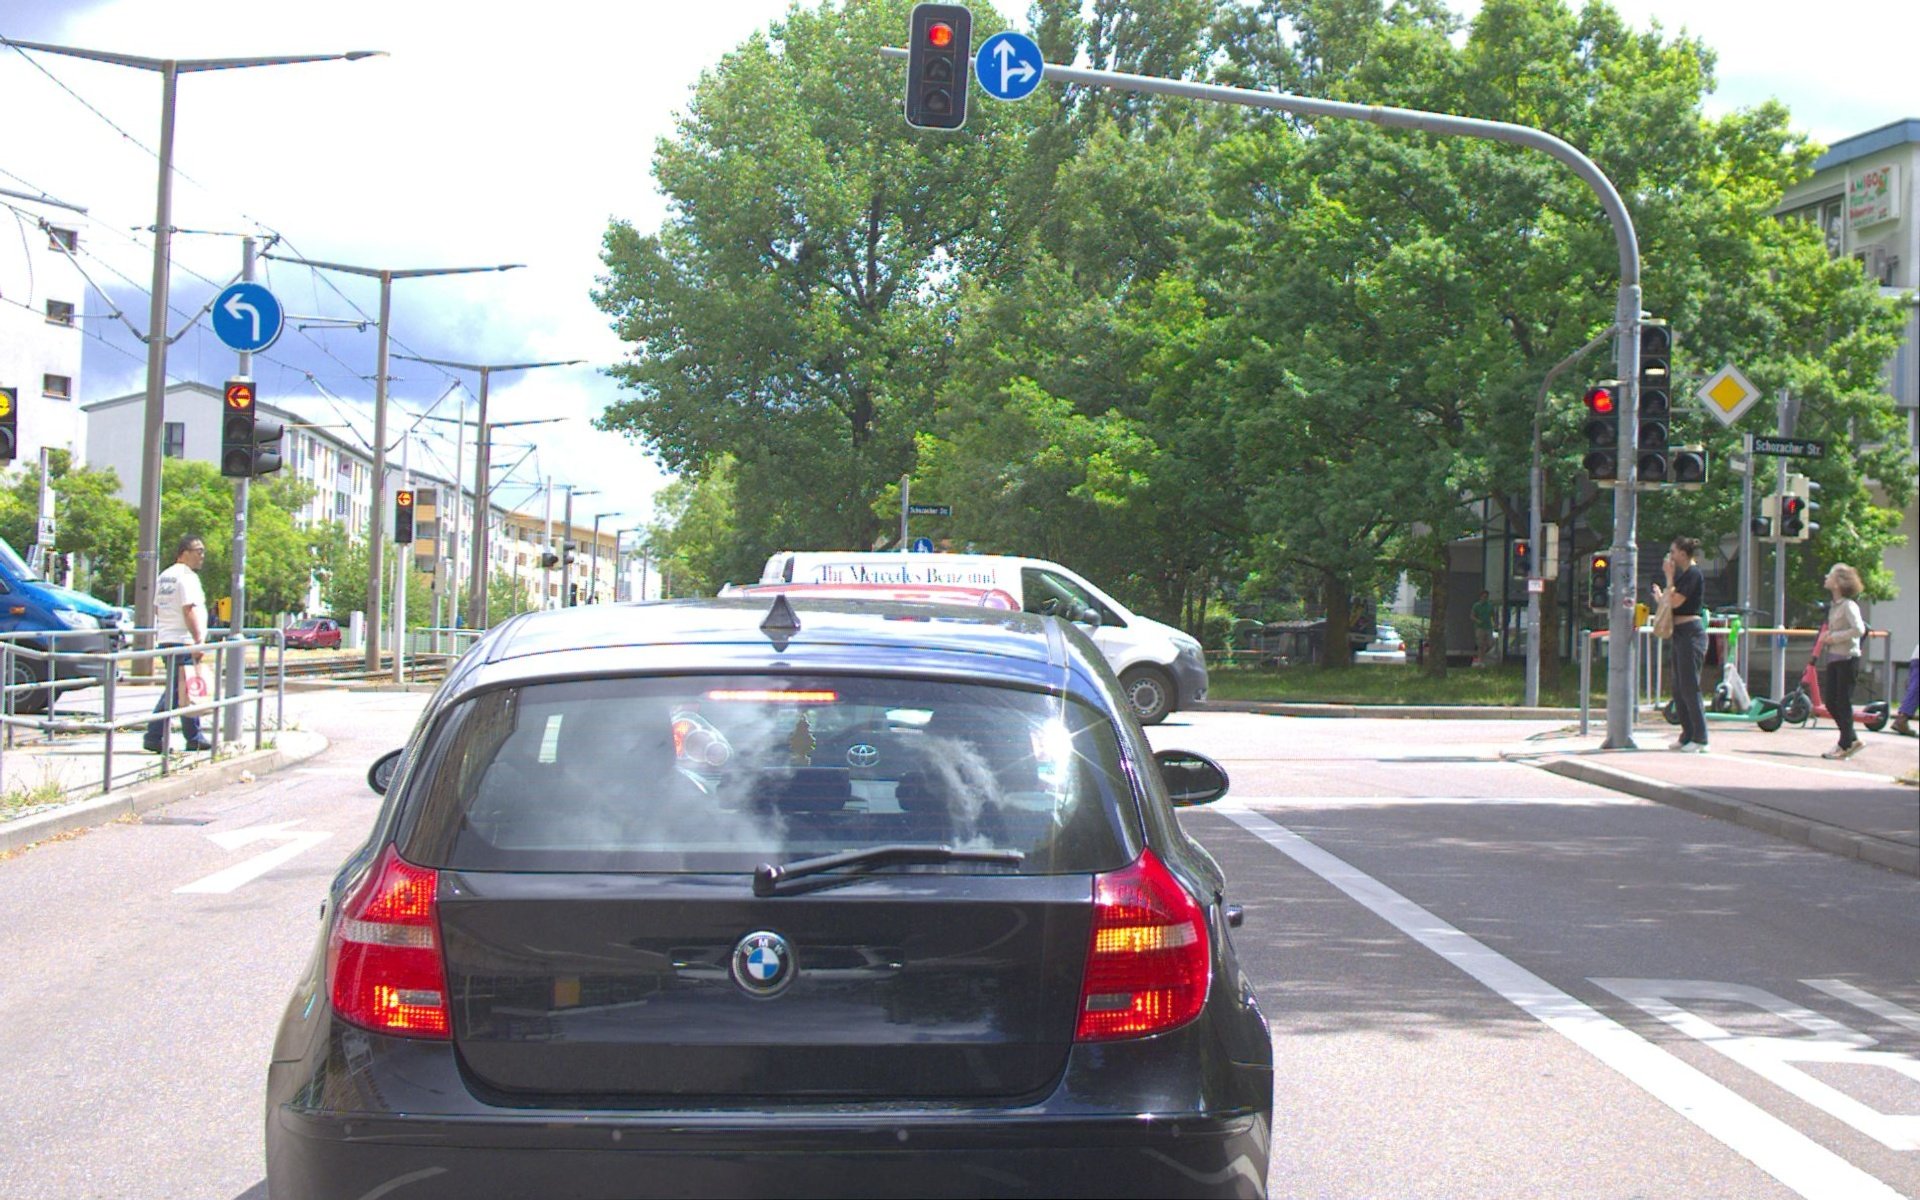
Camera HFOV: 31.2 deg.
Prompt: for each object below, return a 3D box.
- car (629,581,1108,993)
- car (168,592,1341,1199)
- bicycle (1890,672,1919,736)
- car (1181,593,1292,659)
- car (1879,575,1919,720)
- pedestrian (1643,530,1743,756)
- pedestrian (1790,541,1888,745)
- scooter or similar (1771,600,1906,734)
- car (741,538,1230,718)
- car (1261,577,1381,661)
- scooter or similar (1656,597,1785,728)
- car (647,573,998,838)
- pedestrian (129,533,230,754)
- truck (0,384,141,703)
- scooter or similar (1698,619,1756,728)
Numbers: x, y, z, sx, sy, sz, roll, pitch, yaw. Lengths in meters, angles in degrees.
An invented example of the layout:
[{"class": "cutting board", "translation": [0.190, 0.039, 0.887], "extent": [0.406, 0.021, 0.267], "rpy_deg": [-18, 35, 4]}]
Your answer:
[{"class": "car", "translation": [-0.337, 0.639, 13.639], "extent": [1.638, 1.395, 3.420], "rpy_deg": [1, 0, -1]}, {"class": "car", "translation": [-0.324, 0.705, 6.735], "extent": [1.700, 1.395, 3.420], "rpy_deg": [1, 0, -1]}, {"class": "bicycle", "translation": [9.832, 1.045, 33.844], "extent": [0.532, 0.608, 1.591], "rpy_deg": [1, 0, -17]}, {"class": "car", "translation": [7.271, 0.660, 90.690], "extent": [1.862, 1.656, 4.001], "rpy_deg": [1, 0, -11]}, {"class": "car", "translation": [15.468, 0.653, 48.256], "extent": [4.534, 2.007, 2.000], "rpy_deg": [0, 0, -8]}, {"class": "pedestrian", "translation": [6.148, 0.359, 28.841], "extent": [0.636, 1.870, 0.518], "rpy_deg": [1, 0, -11]}, {"class": "pedestrian", "translation": [7.676, 0.368, 30.029], "extent": [0.636, 1.760, 0.518], "rpy_deg": [1, 0, -11]}, {"class": "scooter or similar", "translation": [8.677, 0.657, 33.974], "extent": [1.150, 1.268, 0.555], "rpy_deg": [2, 0, 2]}, {"class": "car", "translation": [0.244, 0.307, 38.599], "extent": [5.168, 1.886, 2.001], "rpy_deg": [1, 0, -10]}, {"class": "car", "translation": [8.338, 0.428, 79.737], "extent": [1.726, 1.865, 4.001], "rpy_deg": [1, 0, -9]}, {"class": "scooter or similar", "translation": [7.345, 0.601, 33.226], "extent": [1.110, 1.231, 0.539], "rpy_deg": [1, 0, 2]}, {"class": "car", "translation": [-0.778, 0.560, 21.108], "extent": [1.900, 1.417, 4.539], "rpy_deg": [1, 0, -1]}, {"class": "pedestrian", "translation": [-6.192, 0.341, 27.262], "extent": [0.687, 1.728, 0.688], "rpy_deg": [1, 0, -19]}, {"class": "truck", "translation": [-12.647, -0.637, 36.975], "extent": [7.266, 3.337, 2.609], "rpy_deg": [1, 0, -9]}, {"class": "scooter or similar", "translation": [7.792, 0.737, 34.907], "extent": [0.548, 1.060, 1.261], "rpy_deg": [1, 0, 13]}]
